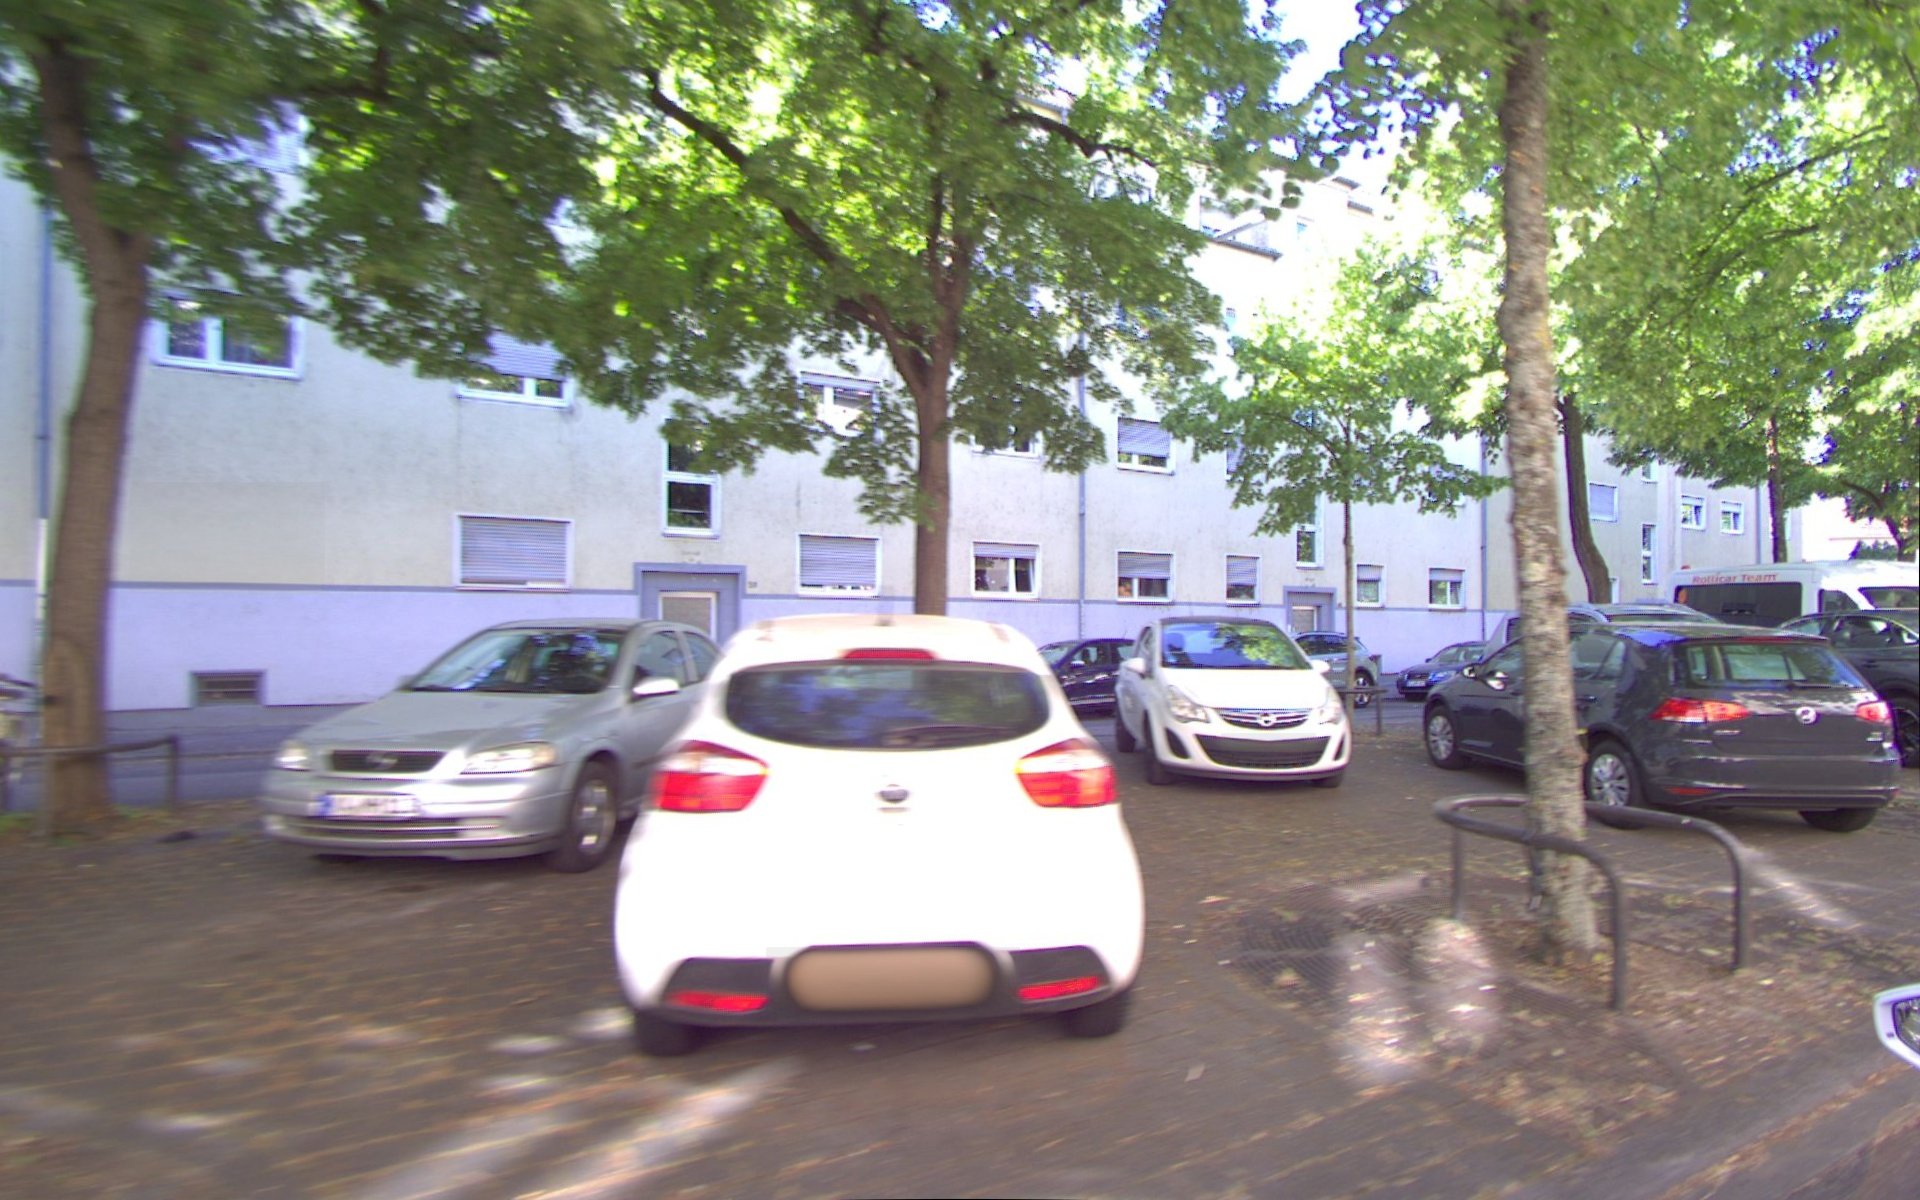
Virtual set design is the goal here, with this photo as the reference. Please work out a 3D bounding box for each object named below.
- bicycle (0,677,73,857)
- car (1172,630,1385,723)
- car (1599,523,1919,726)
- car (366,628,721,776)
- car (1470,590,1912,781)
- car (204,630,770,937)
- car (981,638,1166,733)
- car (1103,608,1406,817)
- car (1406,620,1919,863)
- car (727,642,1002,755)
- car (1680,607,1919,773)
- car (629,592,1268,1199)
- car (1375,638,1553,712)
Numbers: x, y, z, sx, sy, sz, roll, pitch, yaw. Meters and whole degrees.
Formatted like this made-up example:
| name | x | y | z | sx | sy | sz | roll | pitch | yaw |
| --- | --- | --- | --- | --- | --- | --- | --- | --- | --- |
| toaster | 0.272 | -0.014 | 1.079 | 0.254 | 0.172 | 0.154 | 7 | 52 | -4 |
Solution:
| name | x | y | z | sx | sy | sz | roll | pitch | yaw |
| --- | --- | --- | --- | --- | --- | --- | --- | --- | --- |
| bicycle | -6.409 | 1.098 | 6.552 | 0.383 | 1.102 | 1.748 | 0 | -1 | -23 |
| car | 6.774 | 1.542 | 21.221 | 4.506 | 1.745 | 1.733 | 0 | -3 | -32 |
| car | 13.349 | 0.524 | 15.284 | 2.413 | 2.655 | 6.073 | 1 | -6 | -14 |
| car | -5.715 | 1.311 | 13.969 | 4.326 | 1.741 | 1.838 | 0 | -4 | -30 |
| car | 8.040 | 0.885 | 11.708 | 1.862 | 1.800 | 4.394 | 0 | -2 | -2 |
| car | -2.695 | 0.942 | 6.891 | 1.761 | 1.454 | 4.002 | 0 | -1 | 4 |
| car | 2.117 | 1.531 | 18.578 | 3.148 | 1.579 | 1.467 | 0 | -3 | -32 |
| car | 2.533 | 0.941 | 9.668 | 1.809 | 1.576 | 3.917 | -1 | -2 | 1 |
| car | 5.456 | 0.936 | 8.311 | 1.698 | 1.501 | 4.110 | 0 | -1 | 0 |
| car | -1.534 | 1.531 | 16.548 | 4.114 | 1.585 | 1.883 | 0 | -3 | -32 |
| car | 10.459 | 0.922 | 11.272 | 1.623 | 1.663 | 4.275 | 0 | 0 | -1 |
| car | -0.261 | 0.811 | 4.539 | 1.740 | 1.617 | 3.689 | 0 | -1 | -9 |
| car | 12.515 | 1.785 | 24.856 | 4.537 | 1.537 | 1.763 | 0 | 0 | -30 |
